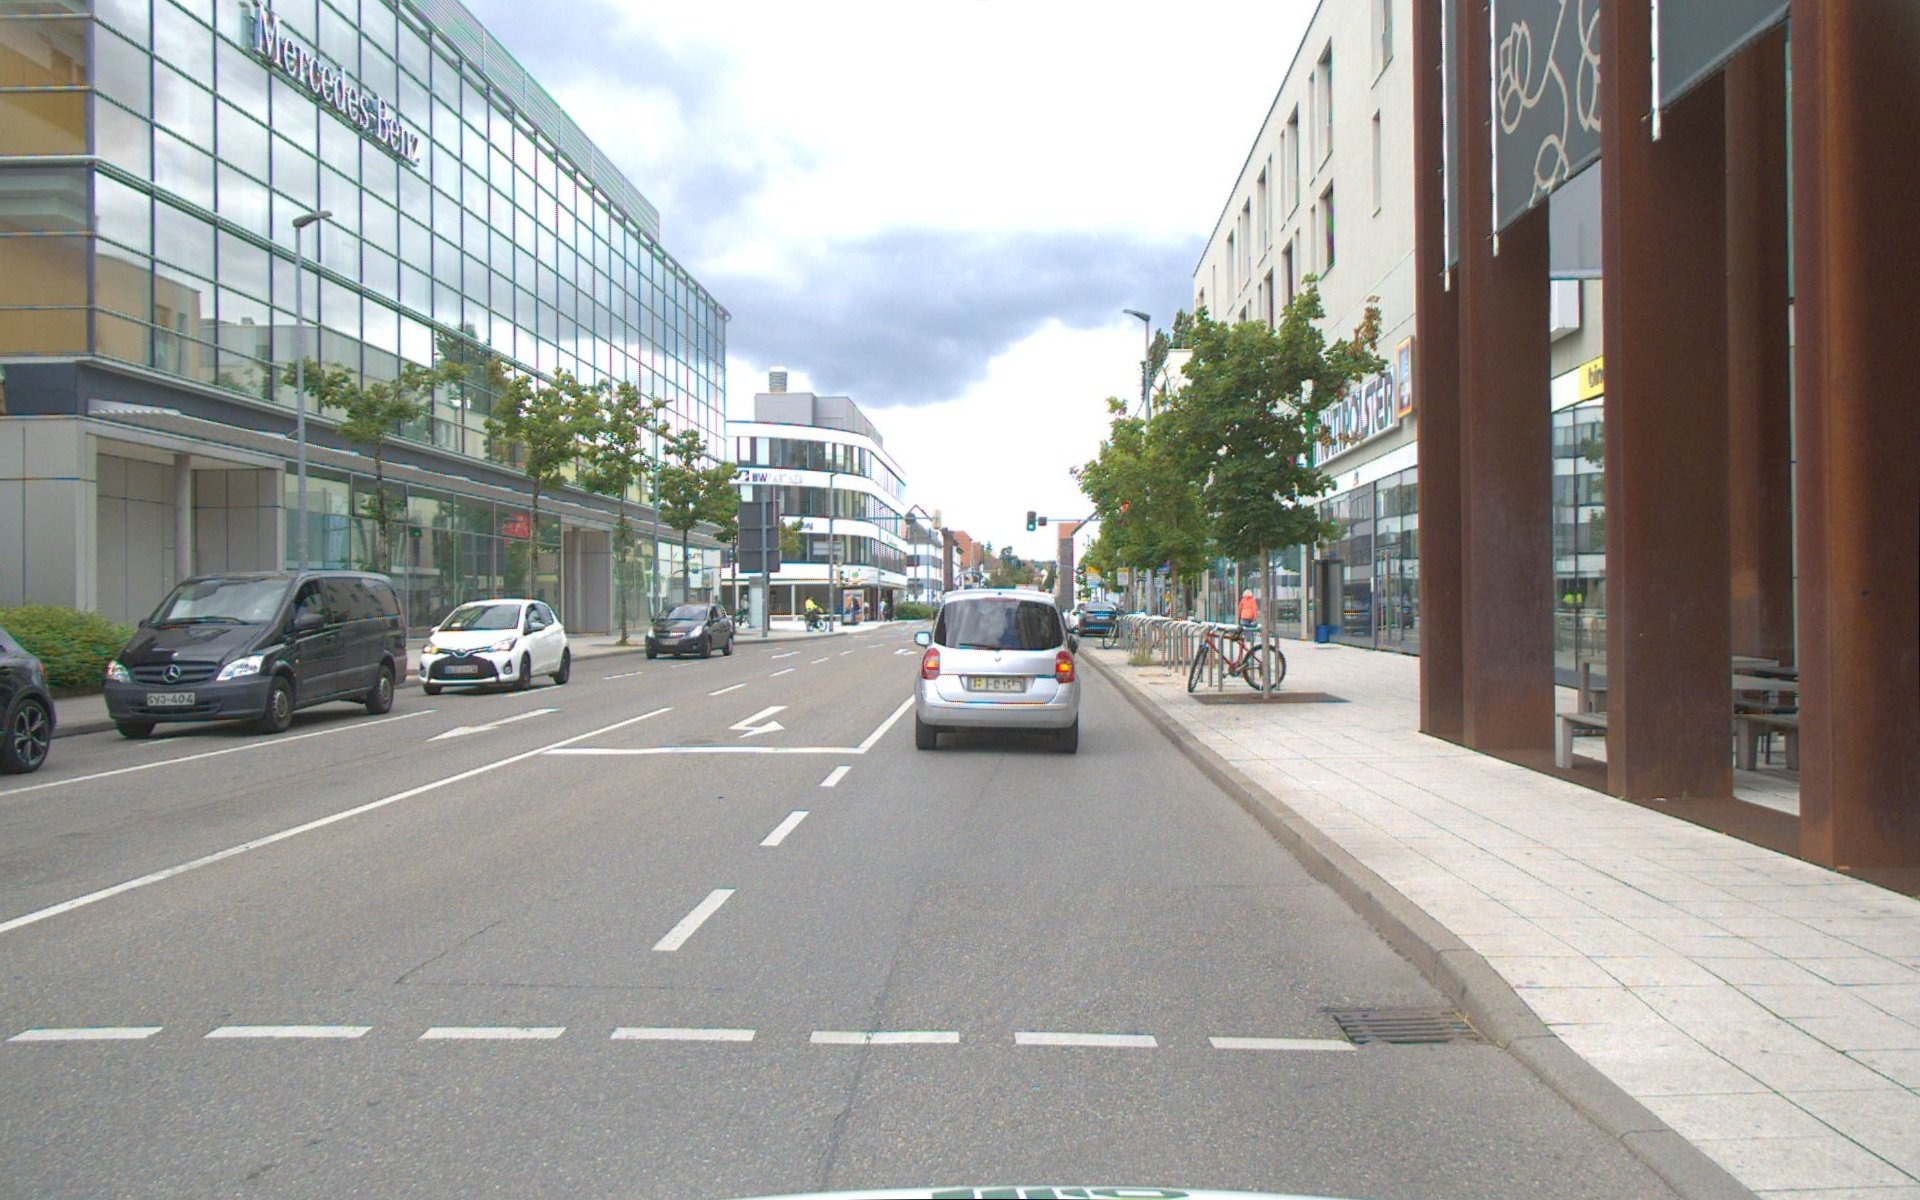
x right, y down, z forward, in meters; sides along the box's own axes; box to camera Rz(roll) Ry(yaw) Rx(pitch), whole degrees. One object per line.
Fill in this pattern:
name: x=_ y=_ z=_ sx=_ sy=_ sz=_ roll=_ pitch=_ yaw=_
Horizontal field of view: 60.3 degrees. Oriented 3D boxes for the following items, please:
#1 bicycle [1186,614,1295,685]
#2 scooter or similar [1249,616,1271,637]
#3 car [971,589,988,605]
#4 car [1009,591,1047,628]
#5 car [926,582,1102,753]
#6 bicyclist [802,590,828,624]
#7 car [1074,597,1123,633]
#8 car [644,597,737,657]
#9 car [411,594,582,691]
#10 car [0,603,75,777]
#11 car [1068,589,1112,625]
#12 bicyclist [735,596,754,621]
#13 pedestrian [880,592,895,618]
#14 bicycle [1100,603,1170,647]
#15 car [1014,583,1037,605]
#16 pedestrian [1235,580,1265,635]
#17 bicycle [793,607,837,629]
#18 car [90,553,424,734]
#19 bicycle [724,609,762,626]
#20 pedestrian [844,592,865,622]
bicycle: x=4.132 y=0.721 z=24.431 sx=1.527 sy=1.010 sz=0.753 roll=0 pitch=0 yaw=5
scooter or similar: x=8.872 y=0.778 z=48.893 sx=0.538 sy=0.555 sz=0.642 roll=-4 pitch=0 yaw=2
car: x=2.723 y=-0.431 z=228.493 sx=2.125 sy=2.049 sz=4.259 roll=-1 pitch=0 yaw=2
car: x=3.080 y=0.427 z=75.503 sx=1.635 sy=1.581 sz=3.643 roll=2 pitch=0 yaw=2
car: x=0.509 y=0.634 z=17.511 sx=1.635 sy=1.581 sz=3.642 roll=2 pitch=0 yaw=0
bicyclist: x=-7.345 y=0.339 z=83.813 sx=0.995 sy=1.689 sz=0.923 roll=2 pitch=-1 yaw=-30
car: x=5.723 y=0.607 z=68.702 sx=1.838 sy=1.358 sz=4.001 roll=2 pitch=0 yaw=2
car: x=-7.211 y=0.696 z=44.554 sx=1.625 sy=1.506 sz=4.002 roll=-1 pitch=0 yaw=3
car: x=-7.792 y=0.668 z=28.164 sx=1.625 sy=1.491 sz=4.001 roll=-1 pitch=0 yaw=2
car: x=-8.967 y=0.772 z=13.194 sx=1.667 sy=1.468 sz=4.000 roll=0 pitch=0 yaw=0
car: x=5.873 y=0.322 z=75.133 sx=1.838 sy=1.535 sz=4.001 roll=2 pitch=0 yaw=2
bicyclist: x=-11.846 y=0.452 z=90.862 sx=0.823 sy=1.350 sz=0.641 roll=0 pitch=0 yaw=-44
pedestrian: x=-5.334 y=0.352 z=121.373 sx=0.940 sy=1.865 sz=1.251 roll=-1 pitch=0 yaw=2
bicycle: x=4.683 y=0.666 z=44.393 sx=1.787 sy=1.093 sz=0.752 roll=-2 pitch=0 yaw=0
car: x=6.161 y=-0.558 z=155.054 sx=2.125 sy=2.049 sz=4.259 roll=-1 pitch=0 yaw=2
pedestrian: x=8.711 y=0.234 z=49.750 sx=0.696 sy=1.602 sz=0.813 roll=-3 pitch=0 yaw=2
bicycle: x=-7.356 y=0.892 z=83.796 sx=0.995 sy=1.036 sz=3.098 roll=2 pitch=0 yaw=-30
car: x=-8.556 y=0.475 z=20.721 sx=1.827 sy=1.943 sz=5.115 roll=-1 pitch=0 yaw=2
bicycle: x=-11.937 y=0.948 z=90.958 sx=0.823 sy=0.914 sz=2.485 roll=0 pitch=0 yaw=-43
pedestrian: x=-6.604 y=0.447 z=103.282 sx=1.223 sy=1.865 sz=0.962 roll=-1 pitch=0 yaw=-7
